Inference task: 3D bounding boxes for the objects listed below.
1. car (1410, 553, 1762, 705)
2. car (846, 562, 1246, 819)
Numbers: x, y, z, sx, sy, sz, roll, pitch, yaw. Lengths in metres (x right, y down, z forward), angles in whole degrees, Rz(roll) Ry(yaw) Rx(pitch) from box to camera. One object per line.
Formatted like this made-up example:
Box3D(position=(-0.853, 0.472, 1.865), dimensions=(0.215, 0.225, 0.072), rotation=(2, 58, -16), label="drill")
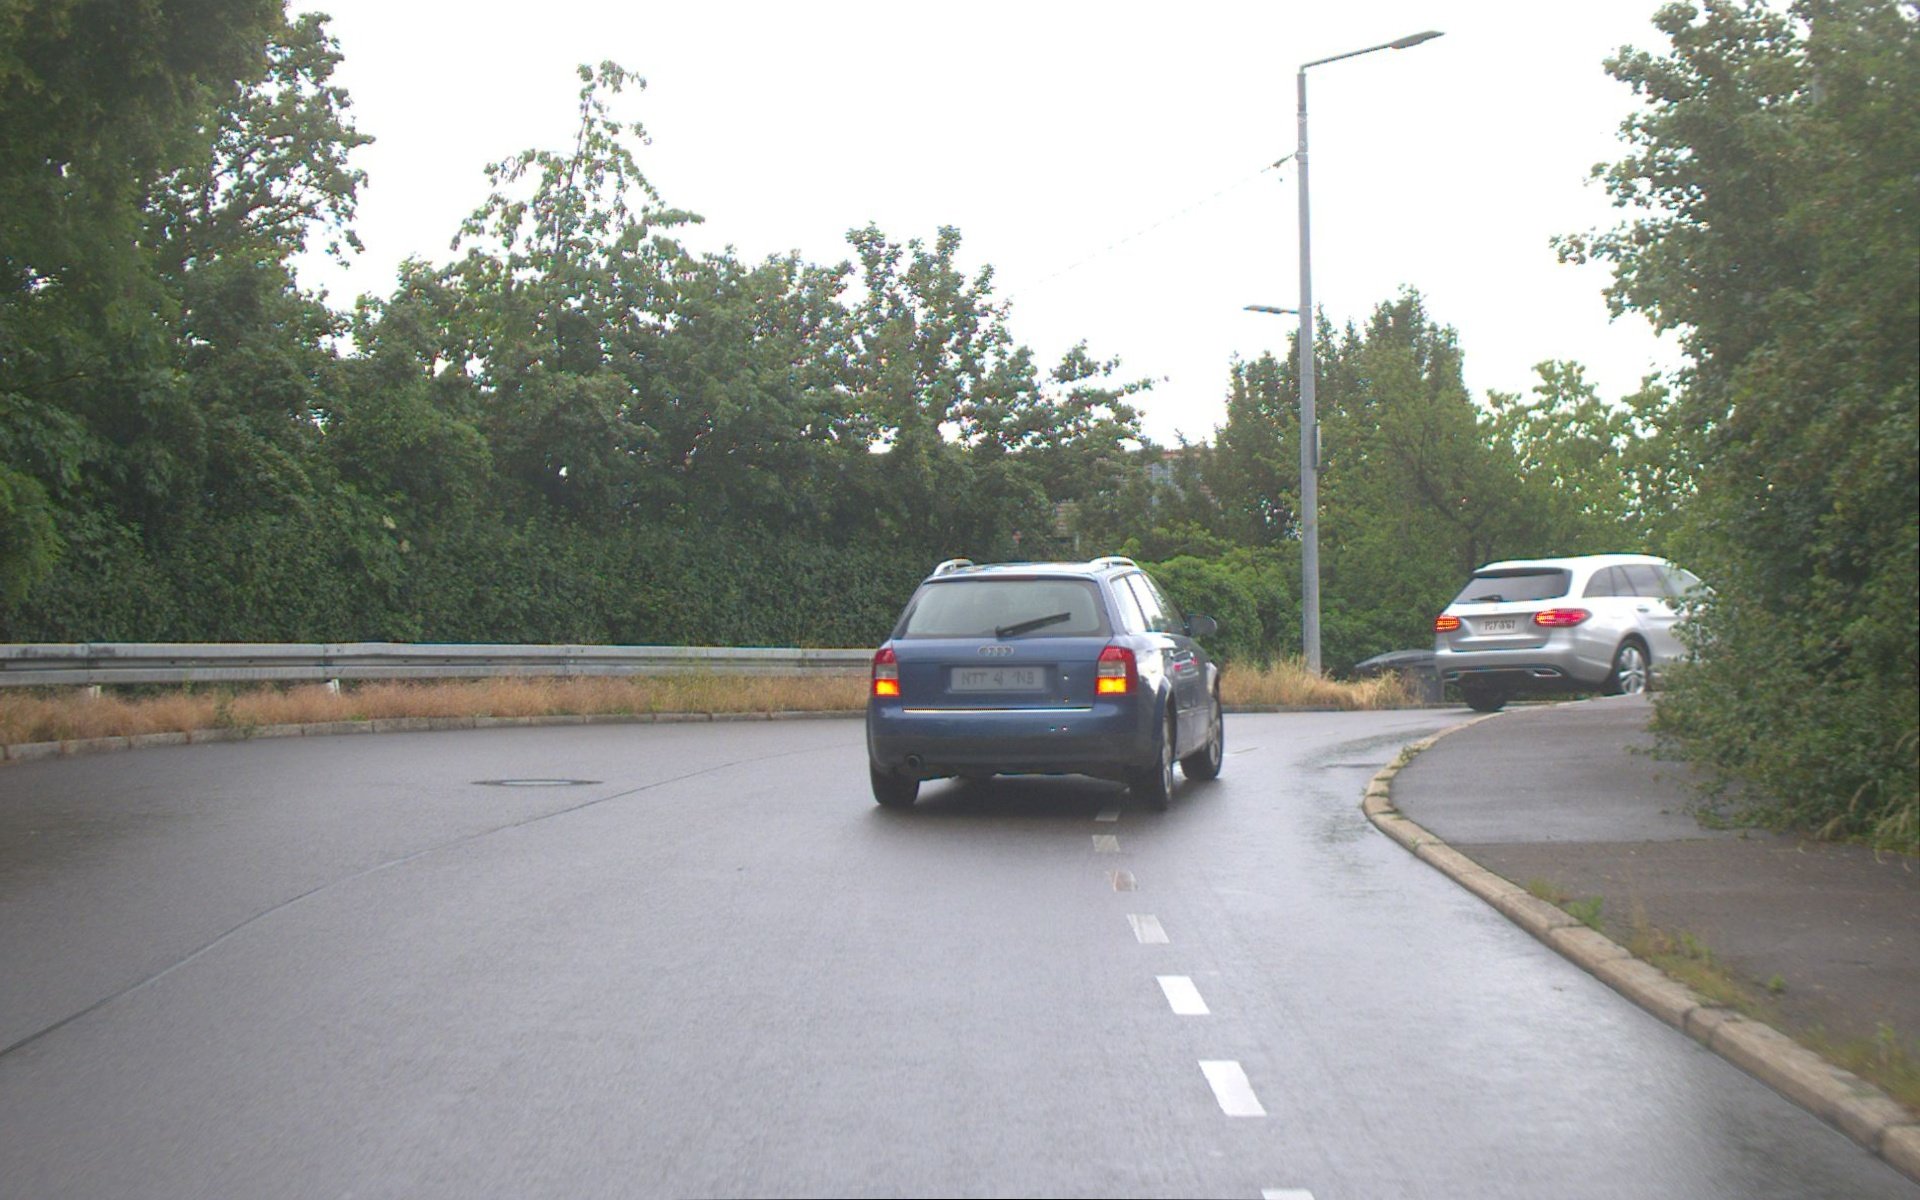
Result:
Box3D(position=(6.183, 0.250, 33.656), dimensions=(1.894, 1.384, 3.992), rotation=(-1, 0, 35), label="car")
Box3D(position=(0.627, 0.474, 20.965), dimensions=(1.748, 1.403, 3.998), rotation=(0, 1, 12), label="car")
